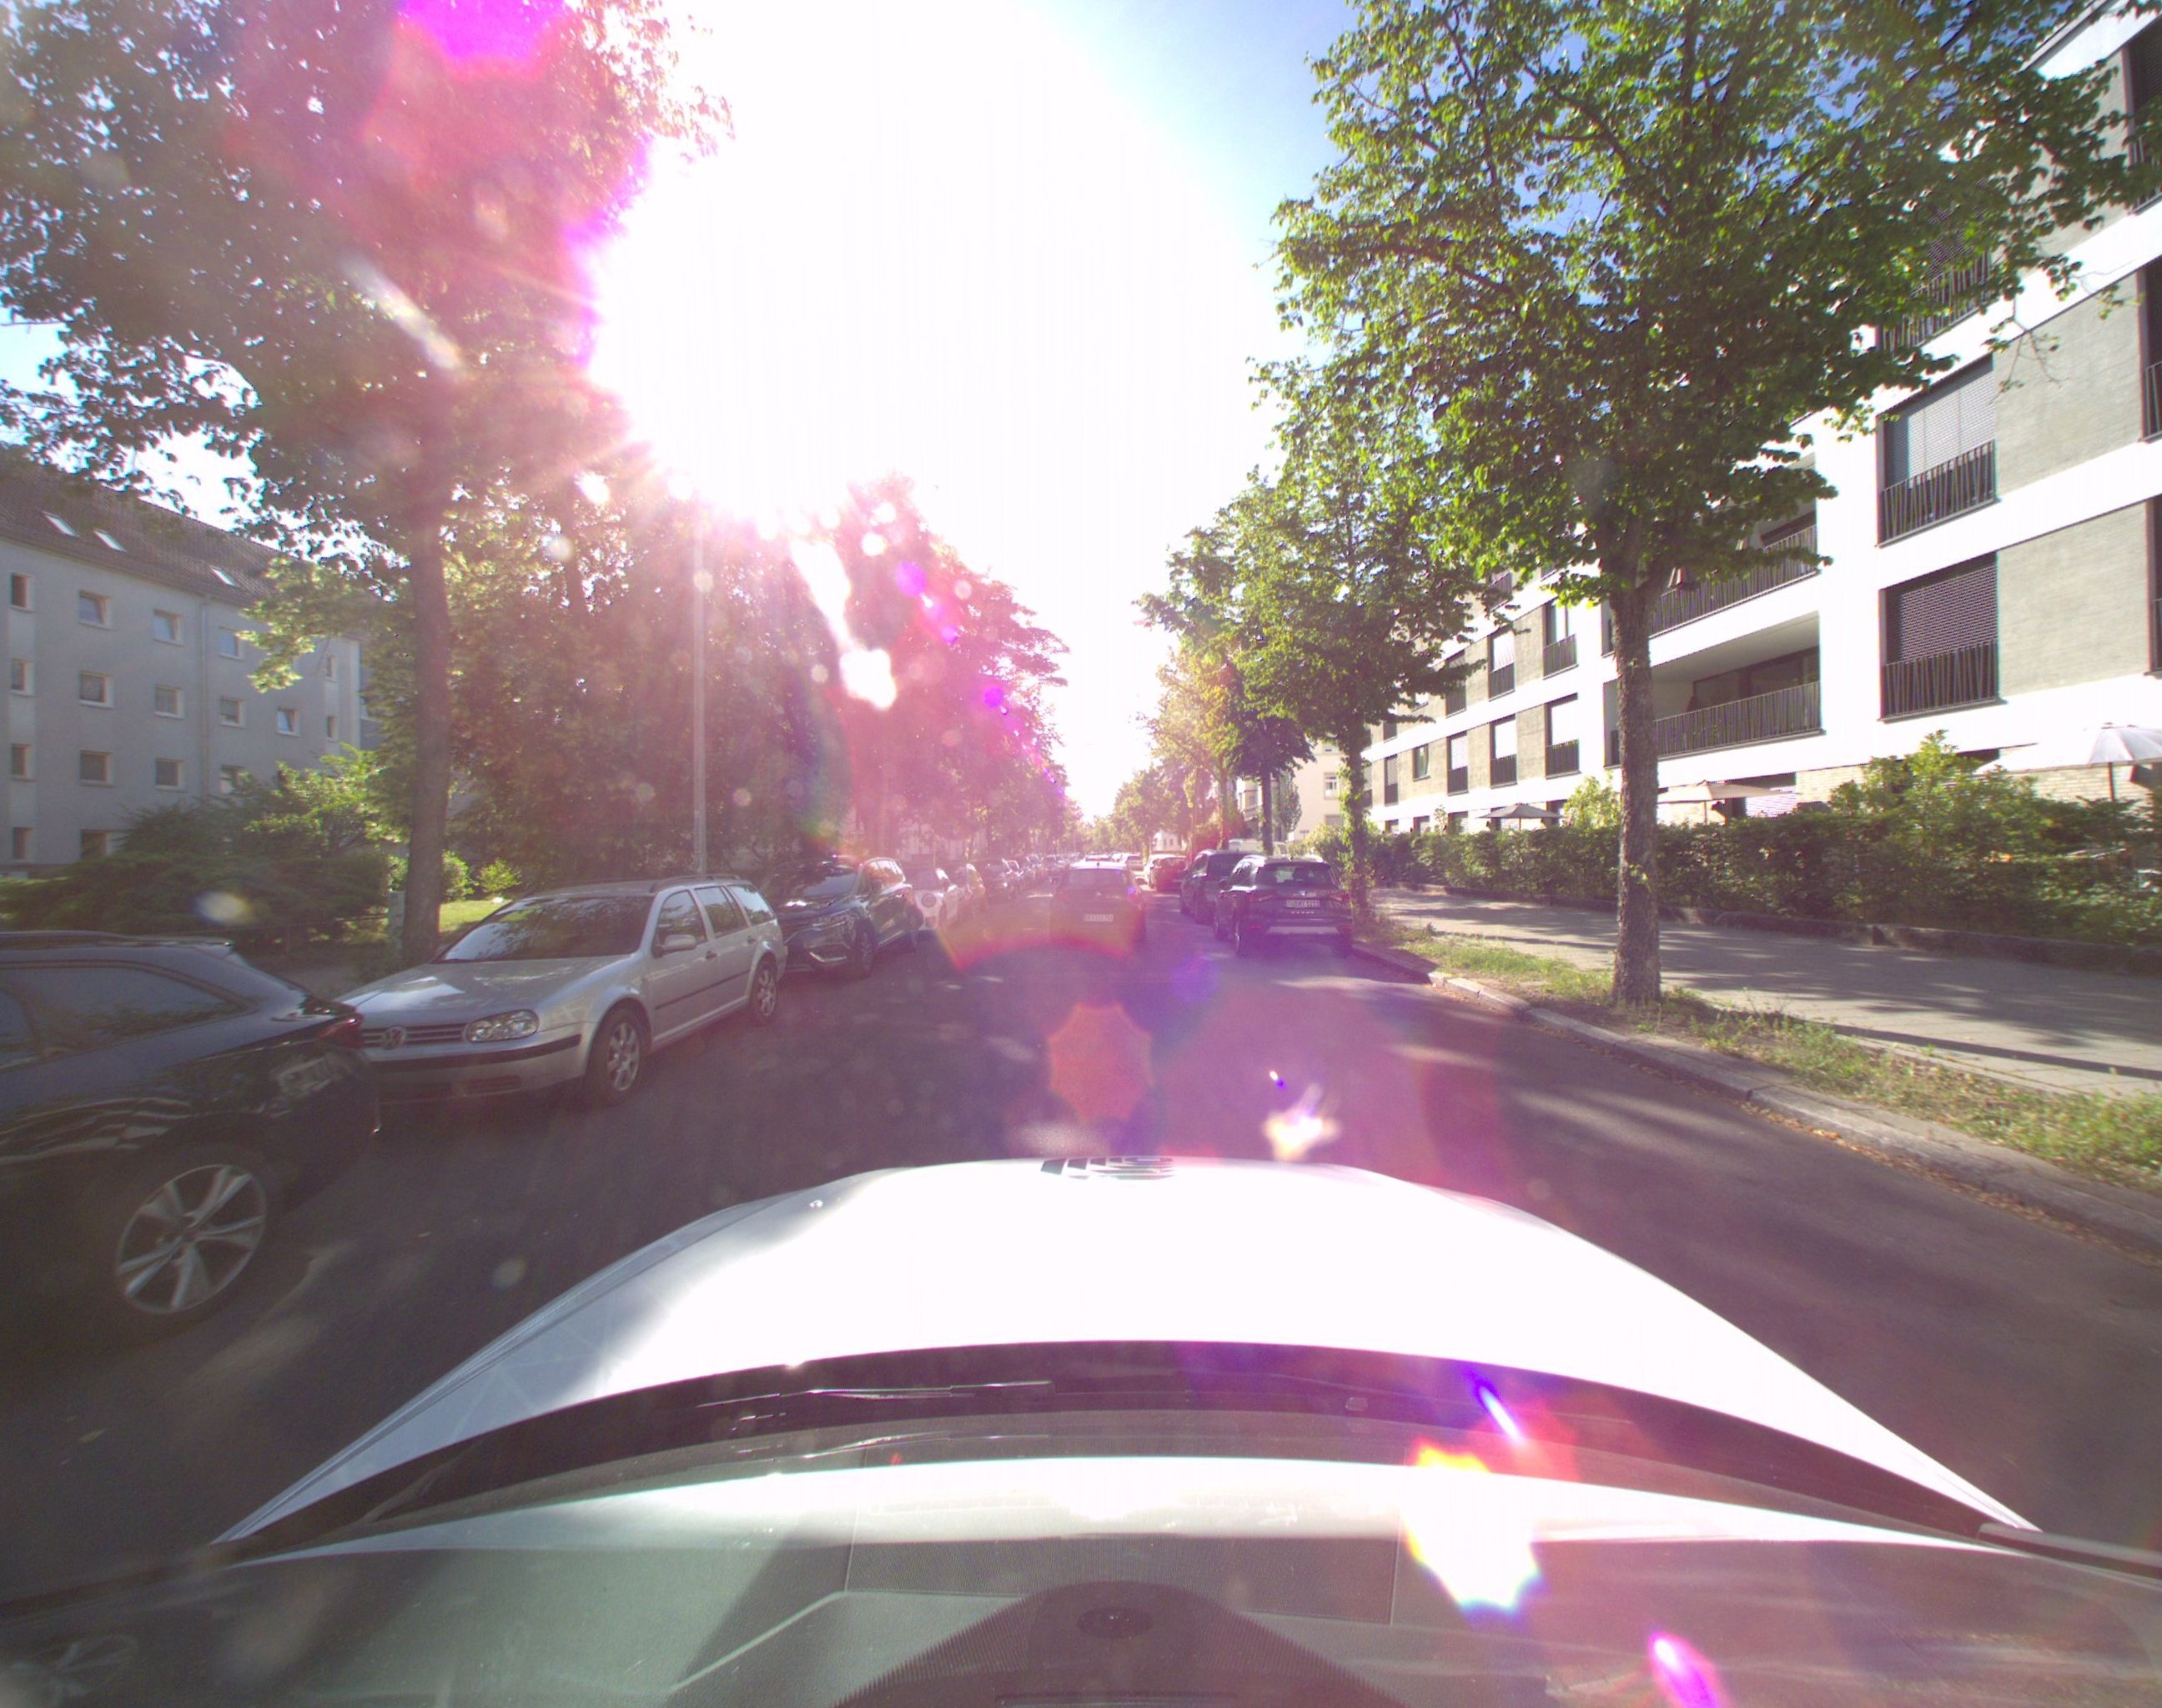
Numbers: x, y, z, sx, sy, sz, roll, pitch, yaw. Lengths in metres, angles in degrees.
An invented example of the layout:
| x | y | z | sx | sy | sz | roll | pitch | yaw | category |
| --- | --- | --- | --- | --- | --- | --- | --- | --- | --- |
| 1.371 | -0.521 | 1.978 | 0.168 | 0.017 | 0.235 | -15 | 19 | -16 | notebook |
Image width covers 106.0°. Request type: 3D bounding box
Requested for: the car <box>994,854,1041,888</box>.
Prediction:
| x | y | z | sx | sy | sz | roll | pitch | yaw | category |
| --- | --- | --- | --- | --- | --- | --- | --- | --- | --- |
| -3.062 | 0.802 | 39.978 | 1.762 | 1.531 | 4.421 | -1 | 0 | 2 | car |

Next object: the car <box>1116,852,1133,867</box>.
| x | y | z | sx | sy | sz | roll | pitch | yaw | category |
| --- | --- | --- | --- | --- | --- | --- | --- | --- | --- |
| 5.092 | 0.613 | 95.586 | 1.918 | 1.651 | 5.098 | 1 | 0 | 3 | car |

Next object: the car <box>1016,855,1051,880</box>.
| x | y | z | sx | sy | sz | roll | pitch | yaw | category |
| --- | --- | --- | --- | --- | --- | --- | --- | --- | --- |
| -2.937 | 0.798 | 51.475 | 1.849 | 1.469 | 4.183 | -1 | 0 | 1 | car |

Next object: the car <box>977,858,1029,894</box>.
| x | y | z | sx | sy | sz | roll | pitch | yaw | category |
| --- | --- | --- | --- | --- | --- | --- | --- | --- | --- |
| -3.236 | 0.880 | 34.549 | 1.779 | 1.352 | 4.480 | -2 | 0 | 0 | car |

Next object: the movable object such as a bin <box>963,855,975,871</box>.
| x | y | z | sx | sy | sz | roll | pitch | yaw | category |
| --- | --- | --- | --- | --- | --- | --- | --- | --- | --- |
| -9.972 | 0.808 | 72.526 | 0.928 | 1.324 | 1.377 | -2 | 0 | -5 | movable object such as a bin |

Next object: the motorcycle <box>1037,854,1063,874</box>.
| x | y | z | sx | sy | sz | roll | pitch | yaw | category |
| --- | --- | --- | --- | --- | --- | --- | --- | --- | --- |
| -2.540 | 0.826 | 66.797 | 0.994 | 1.503 | 2.208 | -2 | 0 | -39 | motorcycle |

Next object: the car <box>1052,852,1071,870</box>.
| x | y | z | sx | sy | sz | roll | pitch | yaw | category |
| --- | --- | --- | --- | --- | --- | --- | --- | --- | --- |
| -1.954 | 0.730 | 82.523 | 1.723 | 1.618 | 4.365 | -5 | 0 | 0 | car |

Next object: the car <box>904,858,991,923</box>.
| x | y | z | sx | sy | sz | roll | pitch | yaw | category |
| --- | --- | --- | --- | --- | --- | --- | --- | --- | --- |
| -3.497 | 0.911 | 21.997 | 1.649 | 1.505 | 4.068 | -2 | 0 | 0 | car |

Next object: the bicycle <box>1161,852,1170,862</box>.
| x | y | z | sx | sy | sz | roll | pitch | yaw | category |
| --- | --- | --- | --- | --- | --- | --- | --- | --- | --- |
| 11.717 | 0.415 | 112.754 | 0.836 | 1.257 | 2.229 | -1 | 0 | -3 | bicycle |

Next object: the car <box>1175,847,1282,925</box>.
| x | y | z | sx | sy | sz | roll | pitch | yaw | category |
| --- | --- | --- | --- | --- | --- | --- | --- | --- | --- |
| 3.442 | 0.680 | 19.933 | 1.786 | 1.643 | 4.819 | 1 | 0 | 1 | car |

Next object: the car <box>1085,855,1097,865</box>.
| x | y | z | sx | sy | sz | roll | pitch | yaw | category |
| --- | --- | --- | --- | --- | --- | --- | --- | --- | --- |
| 1.499 | 0.980 | 128.145 | 1.803 | 1.445 | 4.365 | -3 | 0 | 0 | car |

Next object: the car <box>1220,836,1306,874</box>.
| x | y | z | sx | sy | sz | roll | pitch | yaw | category |
| --- | --- | --- | --- | --- | --- | --- | --- | --- | --- |
| 11.746 | 0.036 | 52.541 | 5.061 | 2.306 | 2.218 | -1 | 0 | -23 | car |

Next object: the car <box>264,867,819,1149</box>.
| x | y | z | sx | sy | sz | roll | pitch | yaw | category |
| --- | --- | --- | --- | --- | --- | --- | --- | --- | --- |
| -3.828 | 0.922 | 6.939 | 1.701 | 1.480 | 4.488 | -2 | 0 | 0 | car |

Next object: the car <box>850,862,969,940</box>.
| x | y | z | sx | sy | sz | roll | pitch | yaw | category |
| --- | --- | --- | --- | --- | --- | --- | --- | --- | --- |
| -3.537 | 0.909 | 17.521 | 1.649 | 1.373 | 4.188 | -2 | 0 | 0 | car |

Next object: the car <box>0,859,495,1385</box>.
| x | y | z | sx | sy | sz | roll | pitch | yaw | category |
| --- | --- | --- | --- | --- | --- | --- | --- | --- | --- |
| -3.931 | 0.785 | 1.916 | 1.787 | 1.452 | 4.489 | -2 | 0 | 0 | car |

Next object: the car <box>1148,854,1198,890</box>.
| x | y | z | sx | sy | sz | roll | pitch | yaw | category |
| --- | --- | --- | --- | --- | --- | --- | --- | --- | --- |
| 3.889 | 0.730 | 35.003 | 1.665 | 1.450 | 4.178 | 1 | 0 | 0 | car |

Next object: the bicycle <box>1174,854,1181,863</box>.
| x | y | z | sx | sy | sz | roll | pitch | yaw | category |
| --- | --- | --- | --- | --- | --- | --- | --- | --- | --- |
| 11.472 | 0.557 | 96.875 | 0.579 | 0.975 | 1.905 | -2 | 0 | 3 | bicycle |

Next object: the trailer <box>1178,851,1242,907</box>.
| x | y | z | sx | sy | sz | roll | pitch | yaw | category |
| --- | --- | --- | --- | --- | --- | --- | --- | --- | --- |
| 3.855 | 0.707 | 24.698 | 1.568 | 1.579 | 3.194 | 1 | 0 | 3 | trailer |

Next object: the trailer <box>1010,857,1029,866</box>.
| x | y | z | sx | sy | sz | roll | pitch | yaw | category |
| --- | --- | --- | --- | --- | --- | --- | --- | --- | --- |
| -7.298 | 0.852 | 97.301 | 1.781 | 1.034 | 3.284 | -1 | 0 | 3 | trailer |

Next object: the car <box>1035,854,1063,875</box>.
| x | y | z | sx | sy | sz | roll | pitch | yaw | category |
| --- | --- | --- | --- | --- | --- | --- | --- | --- | --- |
| -2.429 | 0.783 | 62.817 | 2.037 | 1.524 | 4.604 | -1 | 0 | -1 | car |

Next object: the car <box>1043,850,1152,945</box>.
| x | y | z | sx | sy | sz | roll | pitch | yaw | category |
| --- | --- | --- | --- | --- | --- | --- | --- | --- | --- |
| 0.285 | 0.732 | 15.648 | 1.777 | 1.523 | 3.999 | -2 | 0 | 0 | car |

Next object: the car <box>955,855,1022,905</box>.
| x | y | z | sx | sy | sz | roll | pitch | yaw | category |
| --- | --- | --- | --- | --- | --- | --- | --- | --- | --- |
| -3.248 | 0.860 | 29.335 | 1.699 | 1.577 | 4.484 | -2 | 0 | 2 | car |

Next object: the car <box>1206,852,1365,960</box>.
| x | y | z | sx | sy | sz | roll | pitch | yaw | category |
| --- | --- | --- | --- | --- | --- | --- | --- | --- | --- |
| 3.244 | 0.734 | 13.756 | 1.711 | 1.516 | 4.346 | 0 | 0 | 2 | car |

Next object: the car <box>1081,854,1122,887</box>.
| x | y | z | sx | sy | sz | roll | pitch | yaw | category |
| --- | --- | --- | --- | --- | --- | --- | --- | --- | --- |
| 0.943 | 0.816 | 40.294 | 1.890 | 1.524 | 4.965 | 0 | -1 | 0 | car |

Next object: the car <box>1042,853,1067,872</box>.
| x | y | z | sx | sy | sz | roll | pitch | yaw | category |
| --- | --- | --- | --- | --- | --- | --- | --- | --- | --- |
| -2.316 | 0.718 | 70.774 | 2.059 | 1.524 | 4.718 | -1 | 0 | -2 | car |

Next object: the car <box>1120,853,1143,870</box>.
| x | y | z | sx | sy | sz | roll | pitch | yaw | category |
| --- | --- | --- | --- | --- | --- | --- | --- | --- | --- |
| 4.667 | 0.649 | 75.288 | 1.816 | 1.469 | 4.908 | 0 | 0 | 0 | car |

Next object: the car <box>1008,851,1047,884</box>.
| x | y | z | sx | sy | sz | roll | pitch | yaw | category |
| --- | --- | --- | --- | --- | --- | --- | --- | --- | --- |
| -2.906 | 0.703 | 45.214 | 1.762 | 1.688 | 4.813 | -2 | 0 | 0 | car |

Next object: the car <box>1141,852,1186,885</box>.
| x | y | z | sx | sy | sz | roll | pitch | yaw | category |
| --- | --- | --- | --- | --- | --- | --- | --- | --- | --- |
| 3.943 | 0.676 | 39.574 | 1.727 | 1.487 | 4.008 | -1 | 0 | -1 | car |

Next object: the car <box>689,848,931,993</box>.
| x | y | z | sx | sy | sz | roll | pitch | yaw | category |
| --- | --- | --- | --- | --- | --- | --- | --- | --- | --- |
| -3.693 | 0.787 | 12.243 | 1.835 | 1.656 | 5.088 | -2 | 0 | 1 | car |
